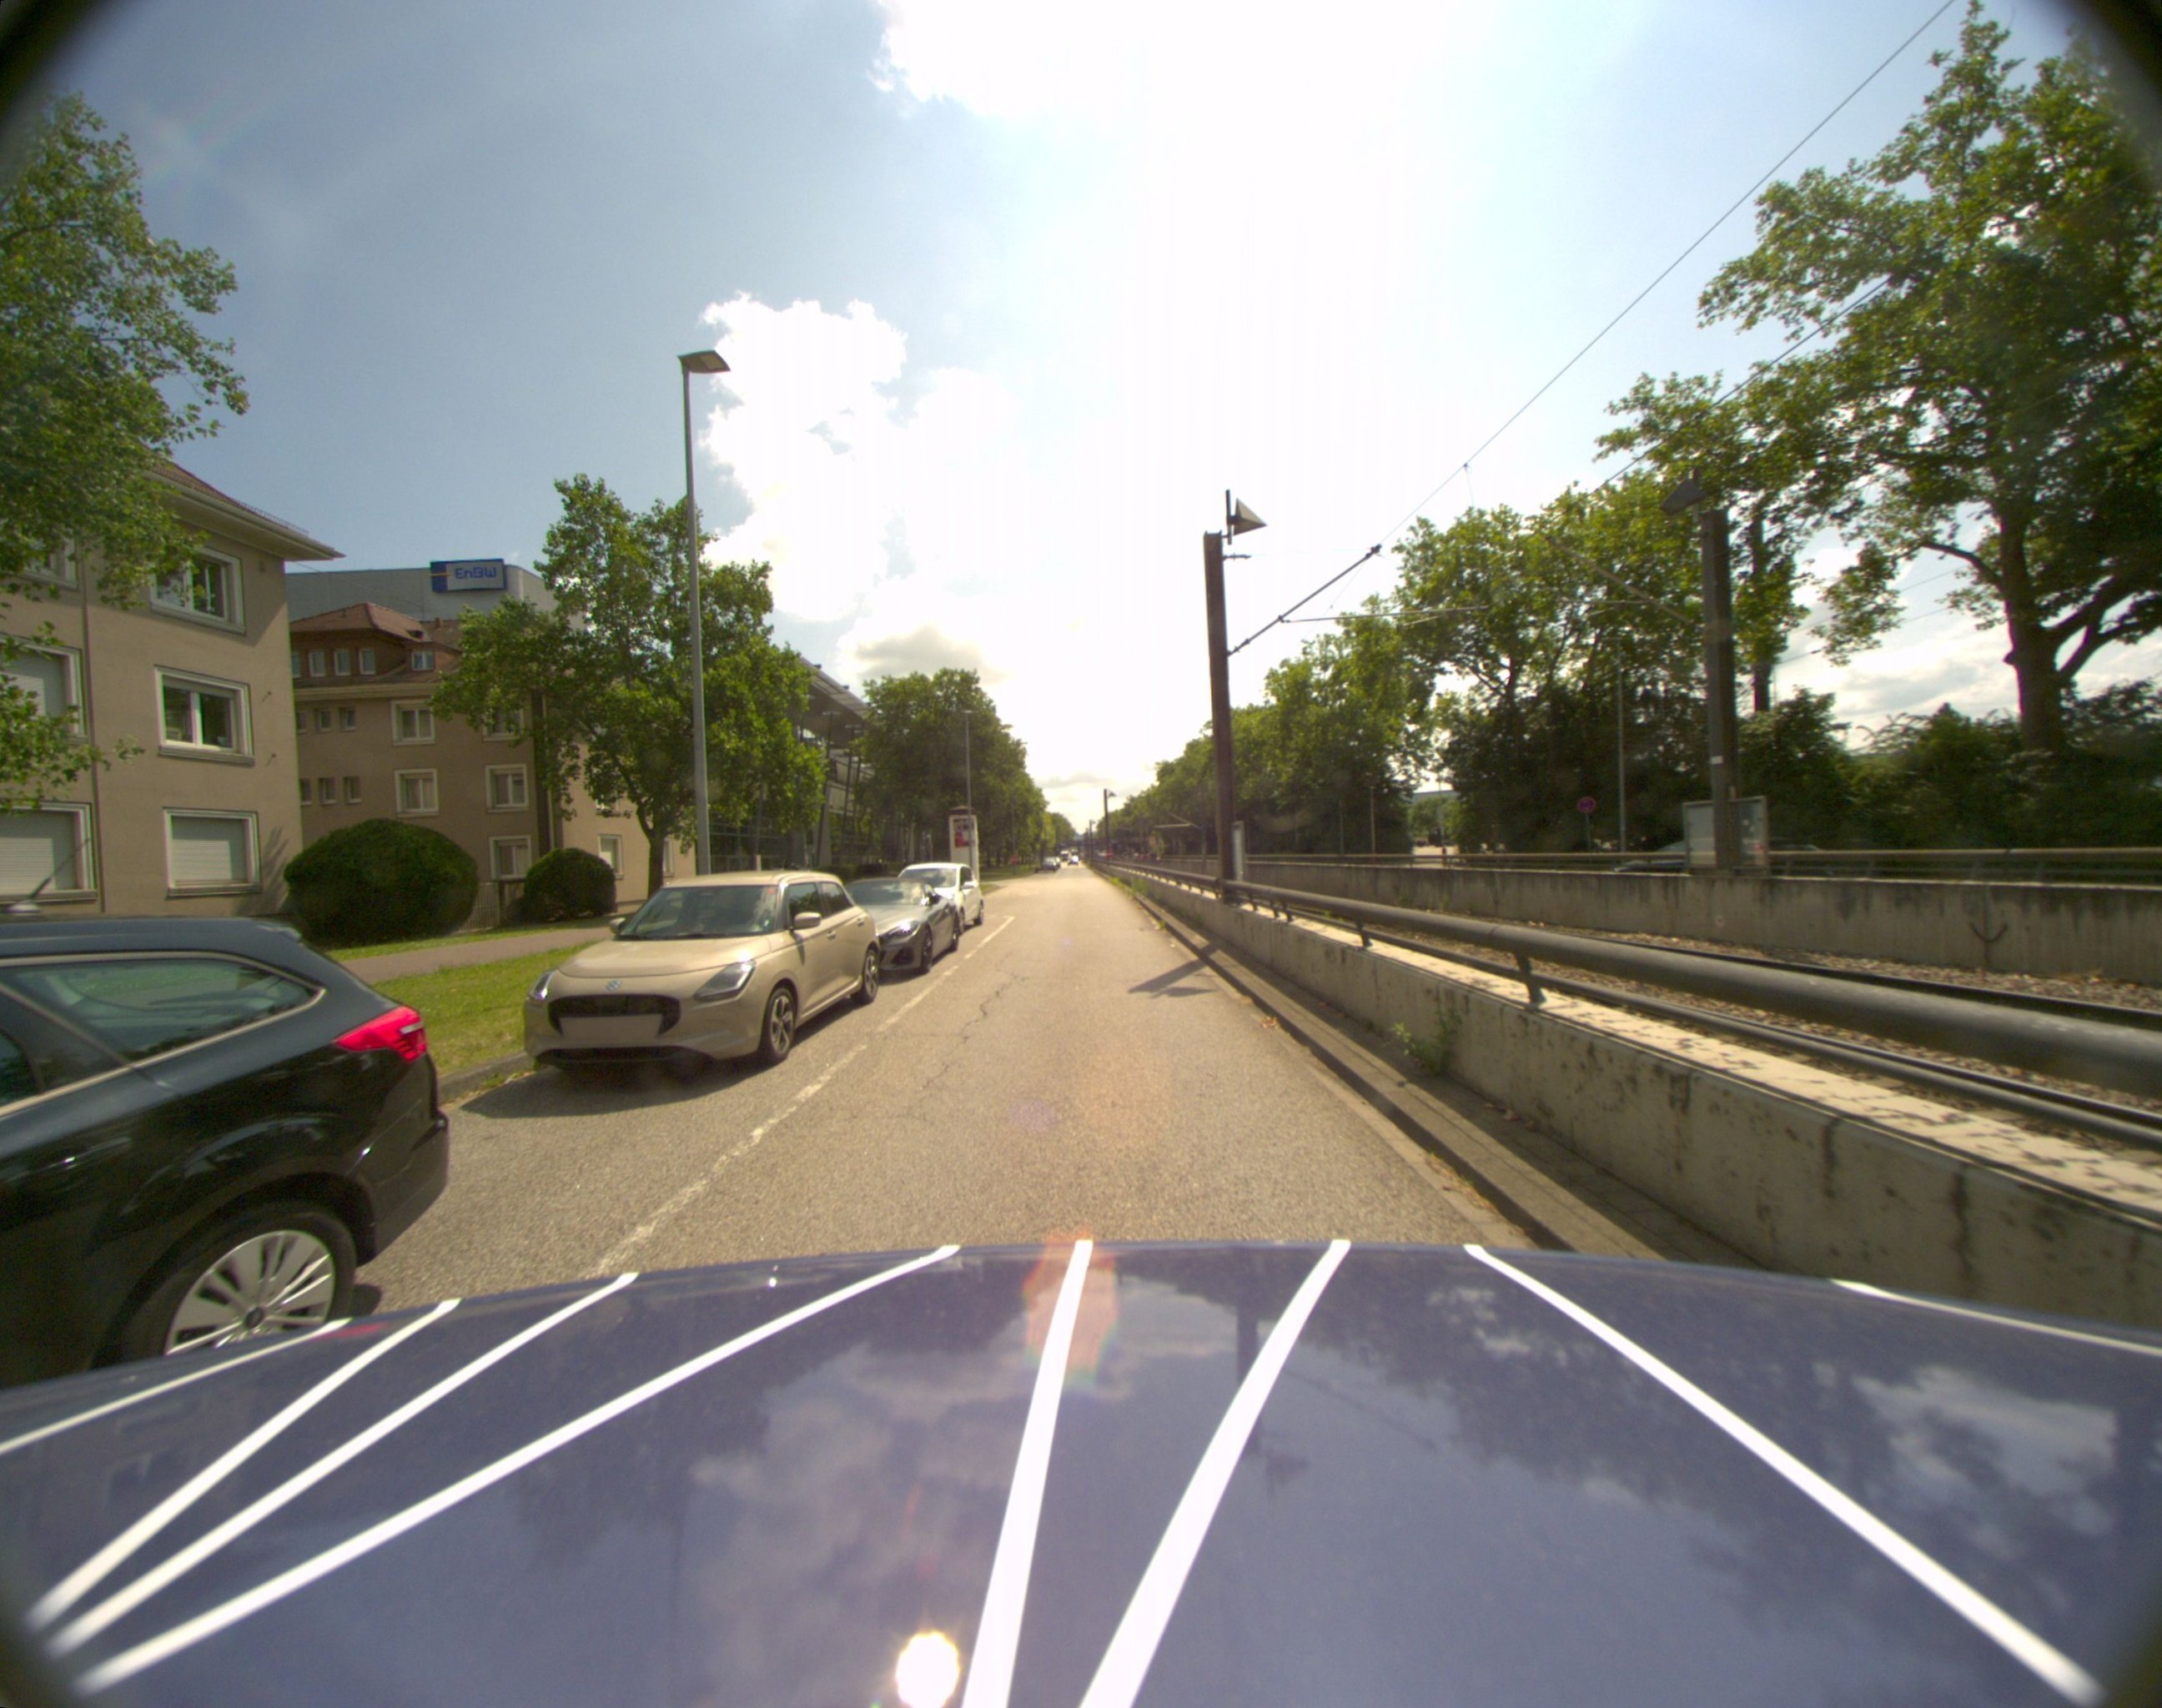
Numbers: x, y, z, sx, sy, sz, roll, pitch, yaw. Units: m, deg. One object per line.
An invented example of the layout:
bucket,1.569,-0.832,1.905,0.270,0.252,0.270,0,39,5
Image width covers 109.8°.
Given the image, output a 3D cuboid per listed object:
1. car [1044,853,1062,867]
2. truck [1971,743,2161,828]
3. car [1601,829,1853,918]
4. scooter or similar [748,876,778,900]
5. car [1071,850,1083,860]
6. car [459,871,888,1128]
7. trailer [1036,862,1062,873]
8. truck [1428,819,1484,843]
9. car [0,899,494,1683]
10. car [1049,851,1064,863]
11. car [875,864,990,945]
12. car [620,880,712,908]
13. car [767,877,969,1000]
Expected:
car,-3.285,0.663,89.376,1.809,1.496,3.734,-3,1,0
truck,54.582,-3.583,39.618,12.819,4.050,2.748,-2,1,1
car,13.385,0.354,16.160,1.671,1.587,4.297,-2,0,0
scooter or similar,-18.045,1.942,43.157,1.441,1.296,0.548,-3,1,15
car,-0.720,0.209,133.309,1.998,1.711,4.304,-2,1,0
car,-3.150,0.999,6.885,1.673,1.506,3.850,-2,1,2
trailer,-3.246,1.384,78.279,2.303,0.823,6.819,-3,1,0
truck,61.630,-3.762,124.967,7.704,3.640,3.065,-1,1,38
car,-3.087,0.976,0.613,1.648,1.521,4.442,-2,1,1
car,-3.410,0.423,104.843,1.809,1.496,3.734,-3,1,0
car,-3.178,1.023,17.004,1.711,1.471,3.789,-2,1,1
car,-25.211,2.430,46.276,4.464,1.346,1.999,-3,1,-2
car,-2.984,1.122,11.713,1.828,1.304,4.442,-2,1,0
